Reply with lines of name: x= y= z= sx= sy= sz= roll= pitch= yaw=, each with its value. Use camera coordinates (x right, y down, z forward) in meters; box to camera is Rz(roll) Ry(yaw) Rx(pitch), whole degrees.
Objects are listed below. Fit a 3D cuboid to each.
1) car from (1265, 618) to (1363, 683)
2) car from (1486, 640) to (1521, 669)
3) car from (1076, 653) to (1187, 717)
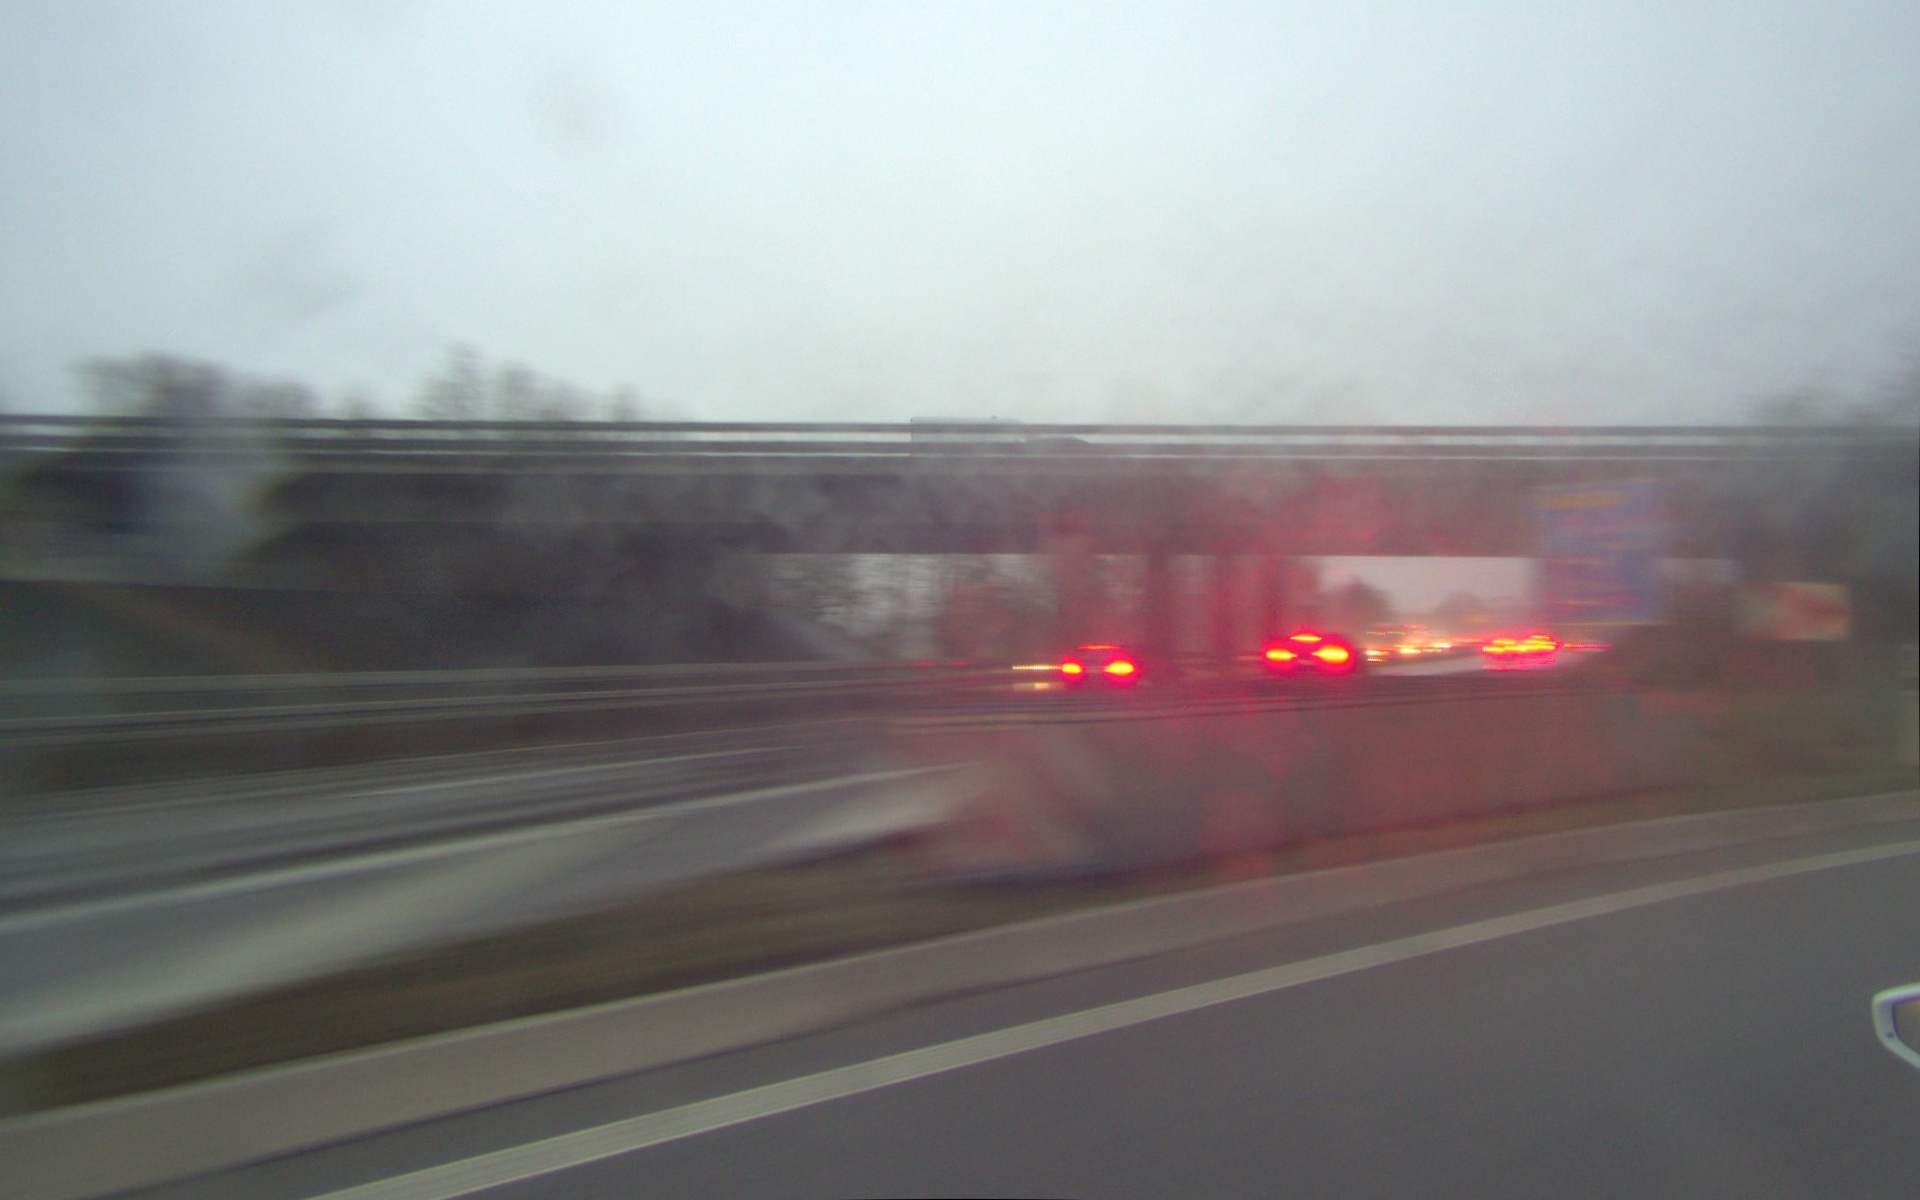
car: x=10.197 y=1.438 z=28.763 sx=1.964 sy=1.686 sz=3.994 roll=-3 pitch=-3 yaw=28
car: x=34.667 y=3.440 z=64.140 sx=1.850 sy=1.639 sz=3.869 roll=-1 pitch=-1 yaw=27
car: x=4.825 y=2.273 z=27.742 sx=1.770 sy=1.487 sz=4.409 roll=1 pitch=-1 yaw=27
